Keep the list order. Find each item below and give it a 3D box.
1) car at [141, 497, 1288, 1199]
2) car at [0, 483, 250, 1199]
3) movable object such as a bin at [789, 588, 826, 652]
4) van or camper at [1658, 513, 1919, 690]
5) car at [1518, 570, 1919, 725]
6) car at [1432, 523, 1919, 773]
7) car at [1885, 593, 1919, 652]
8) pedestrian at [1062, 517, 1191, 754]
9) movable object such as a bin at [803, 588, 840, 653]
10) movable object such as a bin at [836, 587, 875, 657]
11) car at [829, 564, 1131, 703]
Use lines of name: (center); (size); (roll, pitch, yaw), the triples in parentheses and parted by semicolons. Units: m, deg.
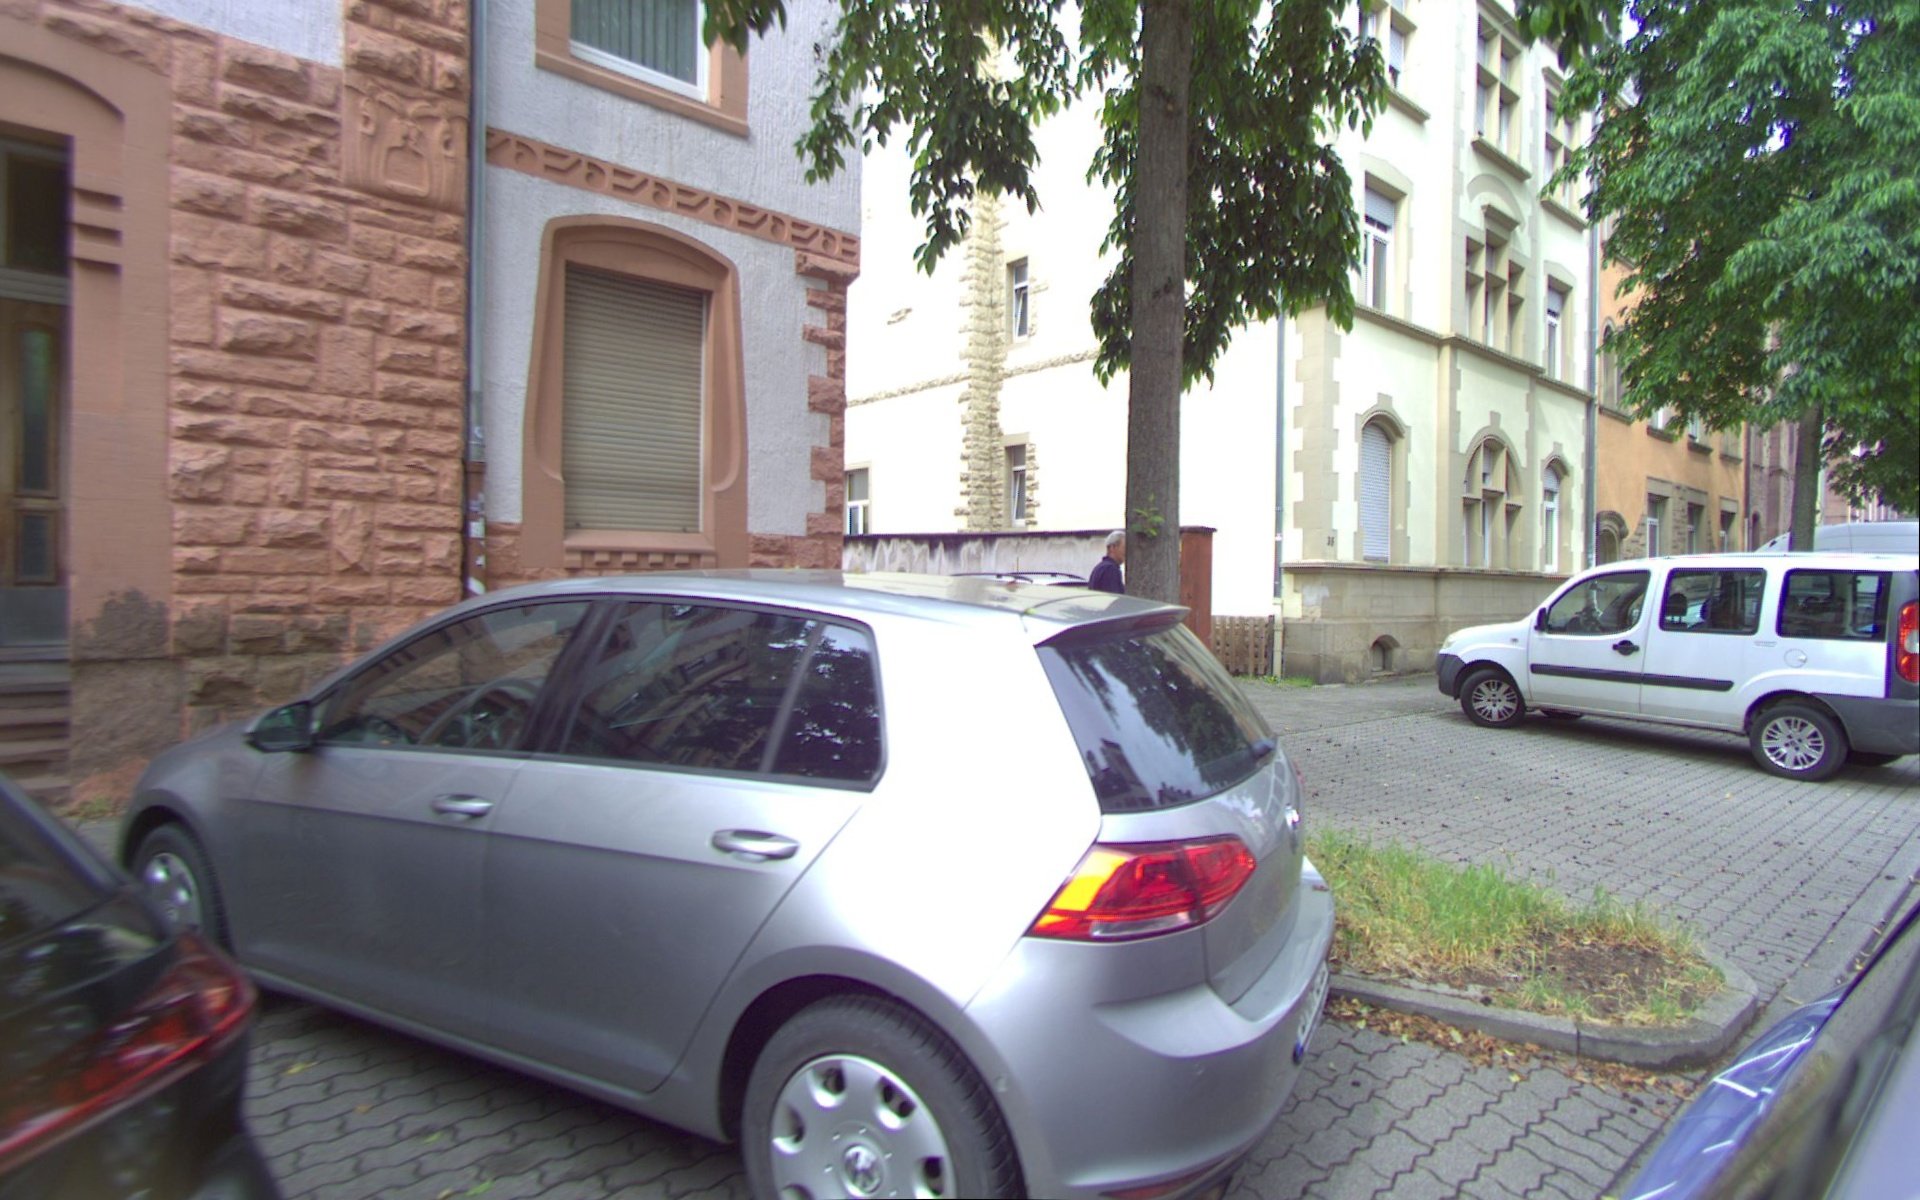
car: (-0.832, 0.592, 3.376); (3.436, 1.583, 1.769); (1, 0, 28)
car: (-3.031, 0.575, 1.282); (3.646, 1.484, 1.695); (1, 1, 19)
movable object such as a bin: (-2.612, 0.340, 17.363); (0.469, 1.064, 0.404); (-1, 0, -37)
van or camper: (14.382, 0.006, 16.065); (5.006, 2.623, 2.060); (1, 1, 20)
car: (9.289, 0.488, 12.208); (4.226, 1.637, 1.750); (1, 1, 21)
car: (6.767, 0.310, 9.425); (1.686, 1.834, 4.003); (0, 1, -32)
car: (25.769, 0.572, 25.278); (3.559, 1.485, 1.620); (0, 0, 19)
pedestrian: (1.375, 0.269, 8.369); (0.802, 1.835, 0.702); (0, 0, -39)
movable object such as a bin: (-2.325, 0.338, 16.973); (0.469, 1.064, 0.404); (-1, 0, -37)
movable object such as a bin: (-1.699, 0.348, 16.492); (0.469, 1.124, 0.404); (0, 1, -40)
car: (0.104, 0.304, 12.802); (1.581, 1.472, 3.995); (0, 1, -40)
